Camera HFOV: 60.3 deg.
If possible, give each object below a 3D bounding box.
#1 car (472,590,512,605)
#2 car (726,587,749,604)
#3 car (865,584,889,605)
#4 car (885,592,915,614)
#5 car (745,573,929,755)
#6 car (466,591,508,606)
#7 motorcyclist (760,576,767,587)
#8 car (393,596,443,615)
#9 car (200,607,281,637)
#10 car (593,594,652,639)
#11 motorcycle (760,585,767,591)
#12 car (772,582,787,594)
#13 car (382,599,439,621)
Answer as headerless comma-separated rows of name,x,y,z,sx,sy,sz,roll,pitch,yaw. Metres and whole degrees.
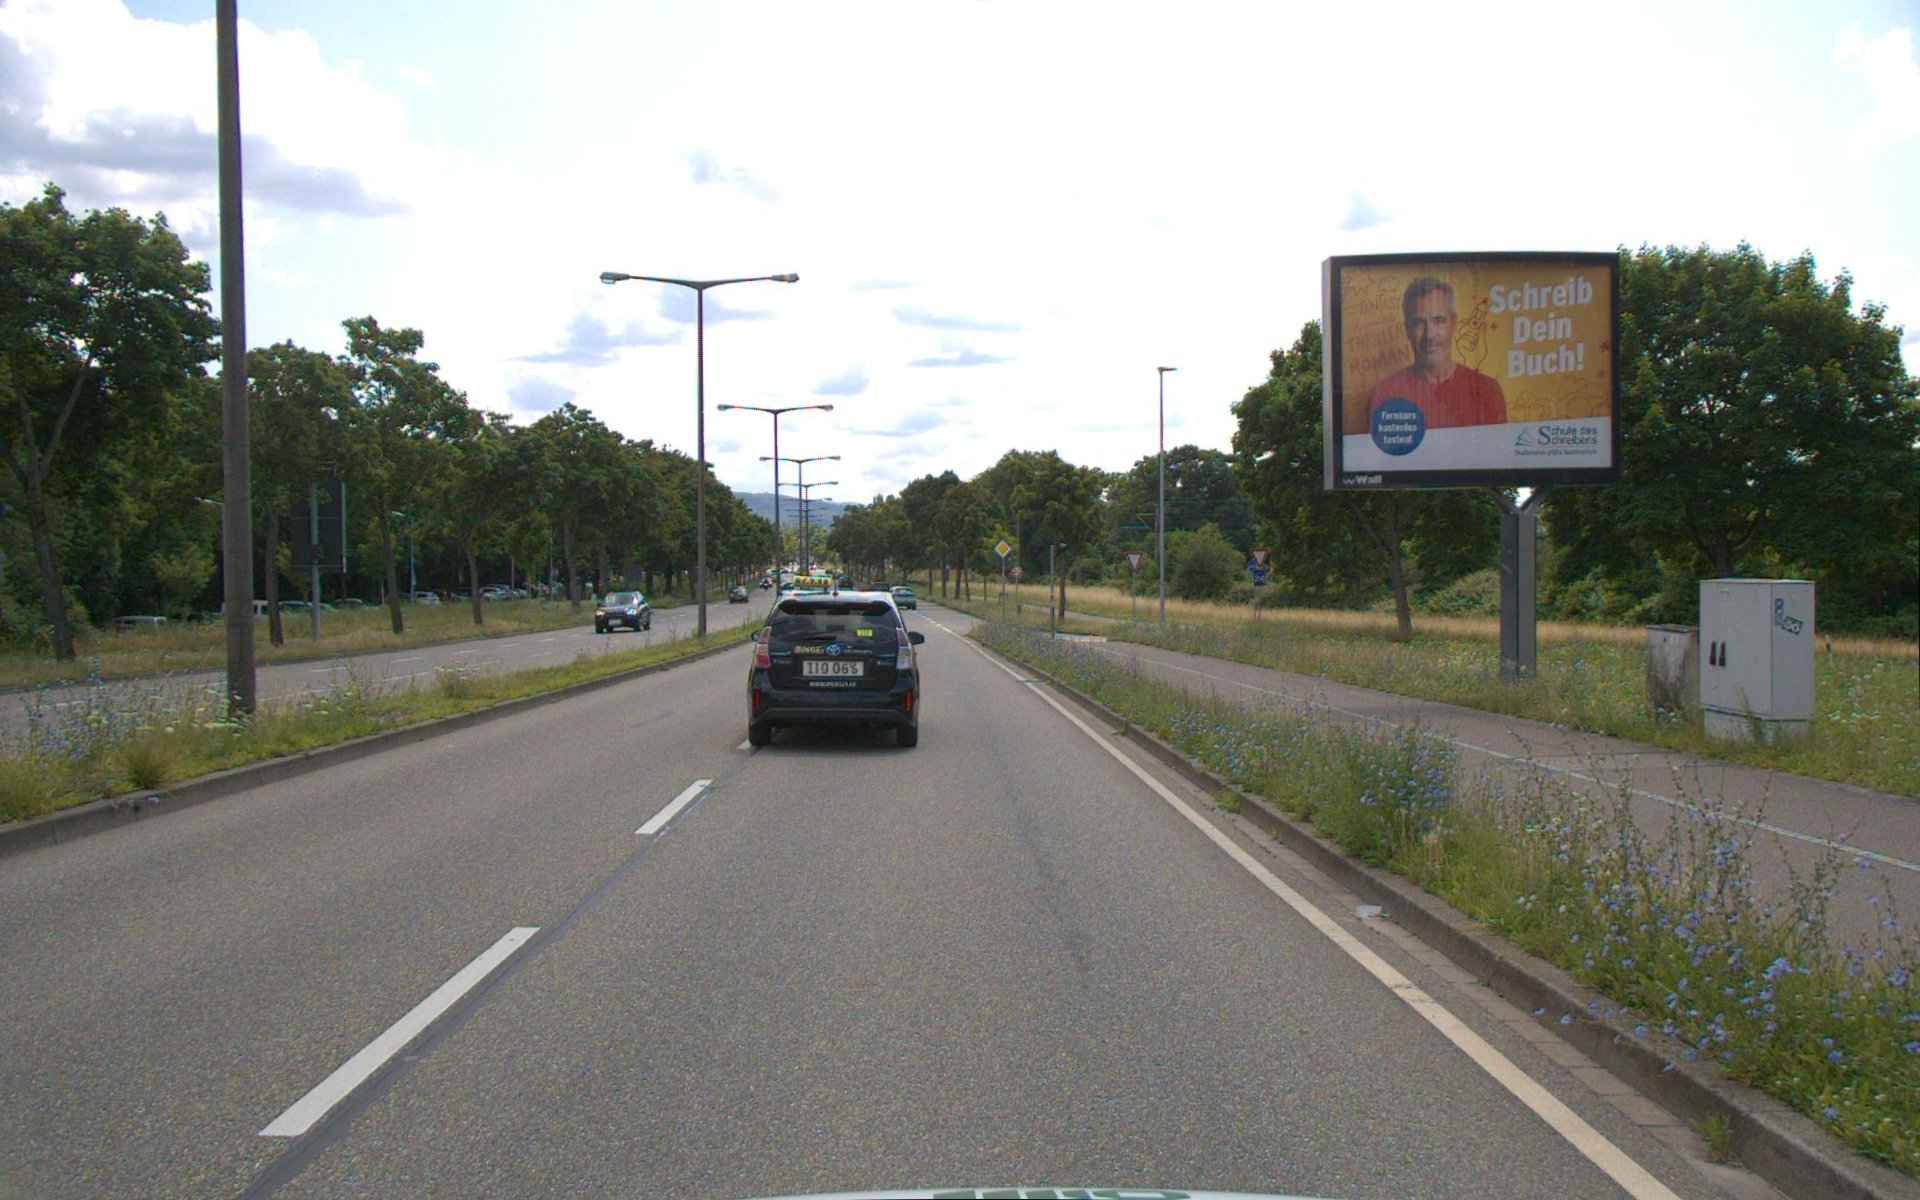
car,-48.910,-0.284,172.834,3.708,1.412,1.785,1,1,-1
car,-19.640,-0.389,145.814,1.672,1.452,3.663,-1,0,-13
car,-6.852,-0.460,136.234,1.954,1.691,3.997,1,1,-4
car,-4.493,0.200,122.787,1.955,1.534,3.995,1,1,-6
car,-1.317,0.586,17.836,1.744,1.713,3.997,1,1,-4
car,-47.815,-0.155,167.158,3.708,1.412,1.785,1,1,-1
motorcyclist,-25.159,-2.368,211.430,0.810,1.438,1.327,1,1,-4
car,-45.774,0.460,139.777,3.711,1.453,1.784,1,1,-5
car,-42.325,1.262,97.311,3.911,1.653,1.997,1,1,-7
car,-14.871,0.714,73.145,1.839,1.821,4.725,-2,0,-3
motorcycle,-25.190,-1.553,211.559,0.737,0.785,2.669,1,1,-4
car,-23.357,-1.557,214.066,1.775,1.422,4.730,-1,1,-4
car,-41.558,0.732,125.152,3.709,1.534,1.785,1,1,-3
